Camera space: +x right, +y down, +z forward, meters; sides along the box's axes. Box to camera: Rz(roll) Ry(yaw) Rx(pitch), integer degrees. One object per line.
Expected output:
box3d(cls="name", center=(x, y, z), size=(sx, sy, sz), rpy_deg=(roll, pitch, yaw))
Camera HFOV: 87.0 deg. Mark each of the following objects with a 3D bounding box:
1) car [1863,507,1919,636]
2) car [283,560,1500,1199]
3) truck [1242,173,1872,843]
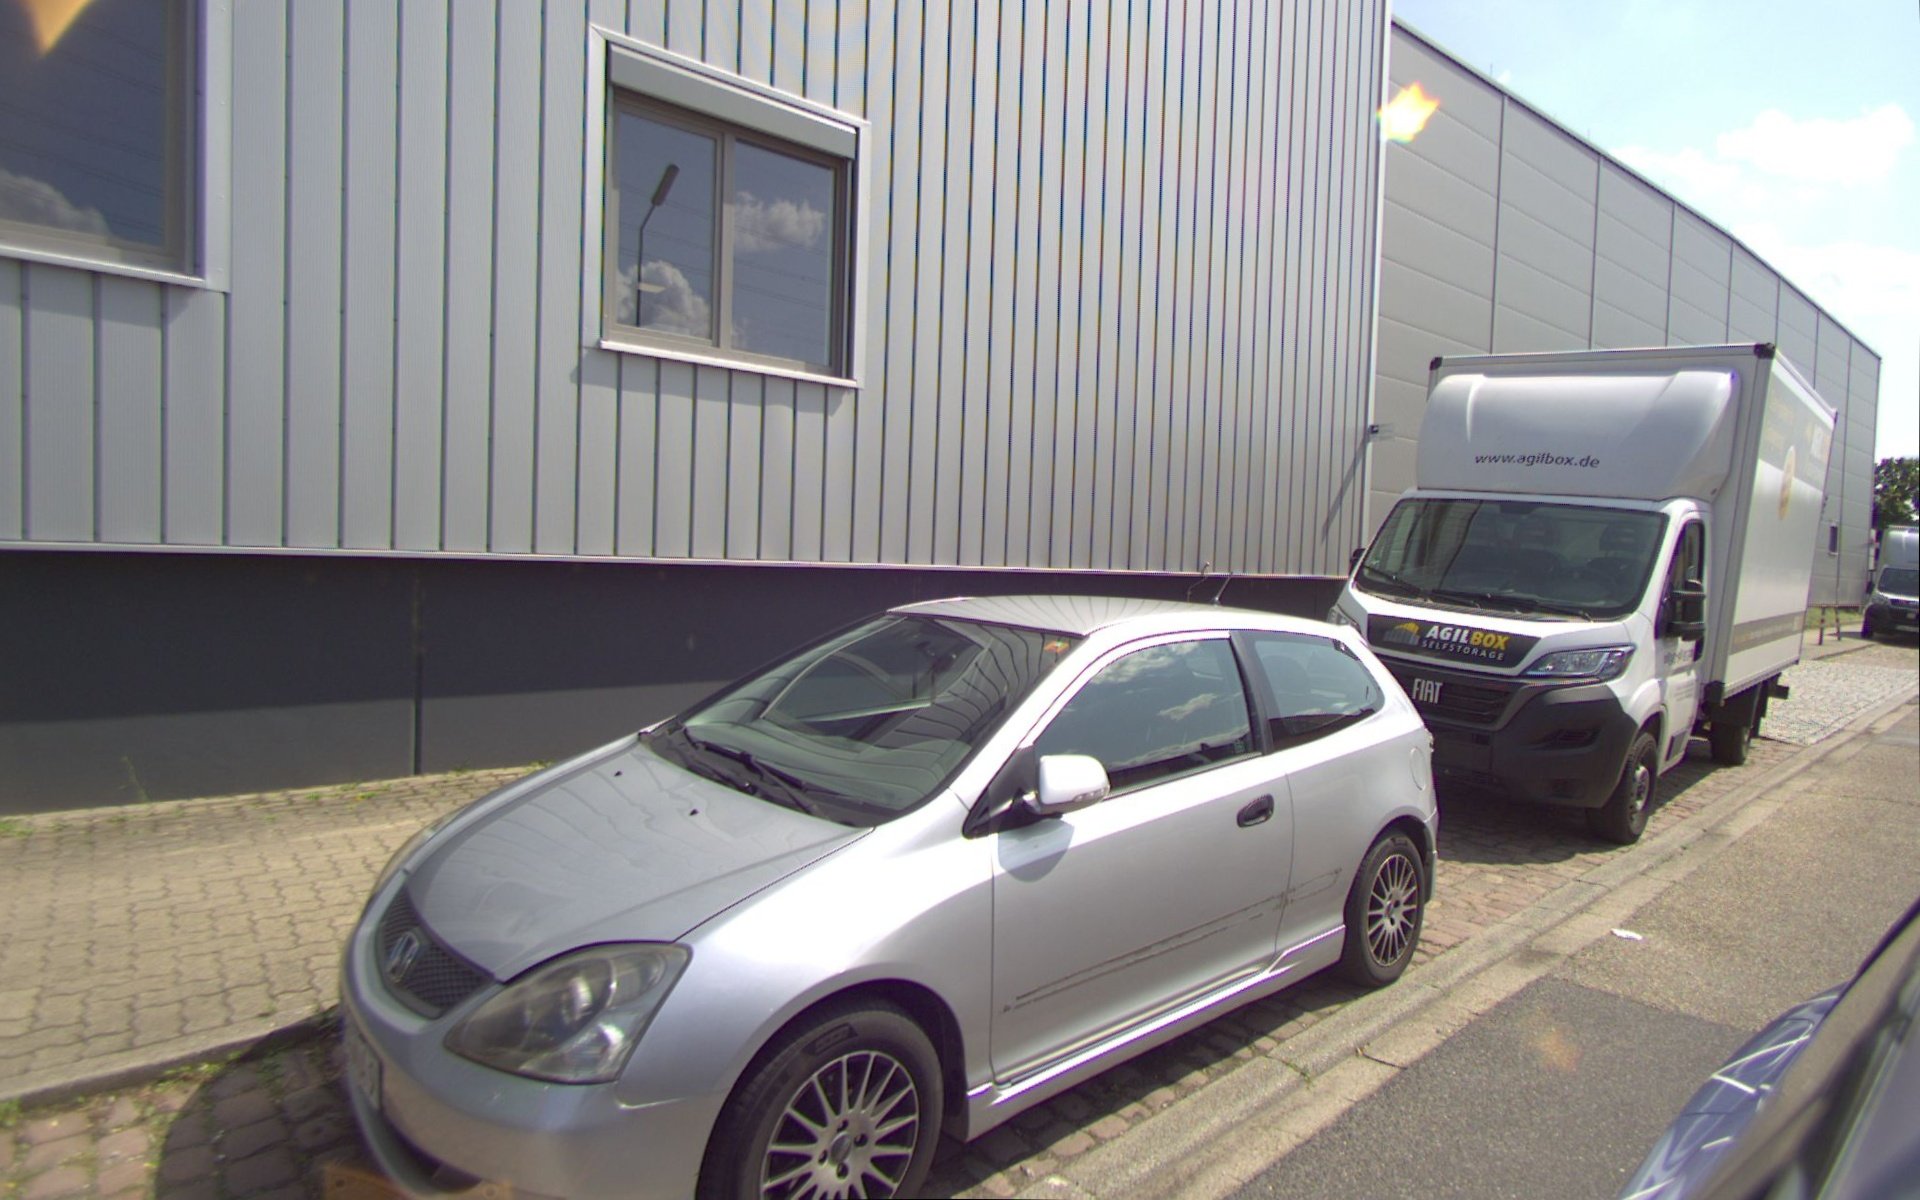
box3d(cls="car", center=(28.196, -0.734, 28.853), size=(6.778, 3.325, 2.420), rpy_deg=(-1, 9, -41))
box3d(cls="car", center=(0.189, 0.631, 3.630), size=(4.183, 1.451, 1.713), rpy_deg=(-1, 1, -41))
box3d(cls="truck", center=(5.666, -0.509, 8.647), size=(7.944, 3.266, 2.602), rpy_deg=(-1, 0, -44))
